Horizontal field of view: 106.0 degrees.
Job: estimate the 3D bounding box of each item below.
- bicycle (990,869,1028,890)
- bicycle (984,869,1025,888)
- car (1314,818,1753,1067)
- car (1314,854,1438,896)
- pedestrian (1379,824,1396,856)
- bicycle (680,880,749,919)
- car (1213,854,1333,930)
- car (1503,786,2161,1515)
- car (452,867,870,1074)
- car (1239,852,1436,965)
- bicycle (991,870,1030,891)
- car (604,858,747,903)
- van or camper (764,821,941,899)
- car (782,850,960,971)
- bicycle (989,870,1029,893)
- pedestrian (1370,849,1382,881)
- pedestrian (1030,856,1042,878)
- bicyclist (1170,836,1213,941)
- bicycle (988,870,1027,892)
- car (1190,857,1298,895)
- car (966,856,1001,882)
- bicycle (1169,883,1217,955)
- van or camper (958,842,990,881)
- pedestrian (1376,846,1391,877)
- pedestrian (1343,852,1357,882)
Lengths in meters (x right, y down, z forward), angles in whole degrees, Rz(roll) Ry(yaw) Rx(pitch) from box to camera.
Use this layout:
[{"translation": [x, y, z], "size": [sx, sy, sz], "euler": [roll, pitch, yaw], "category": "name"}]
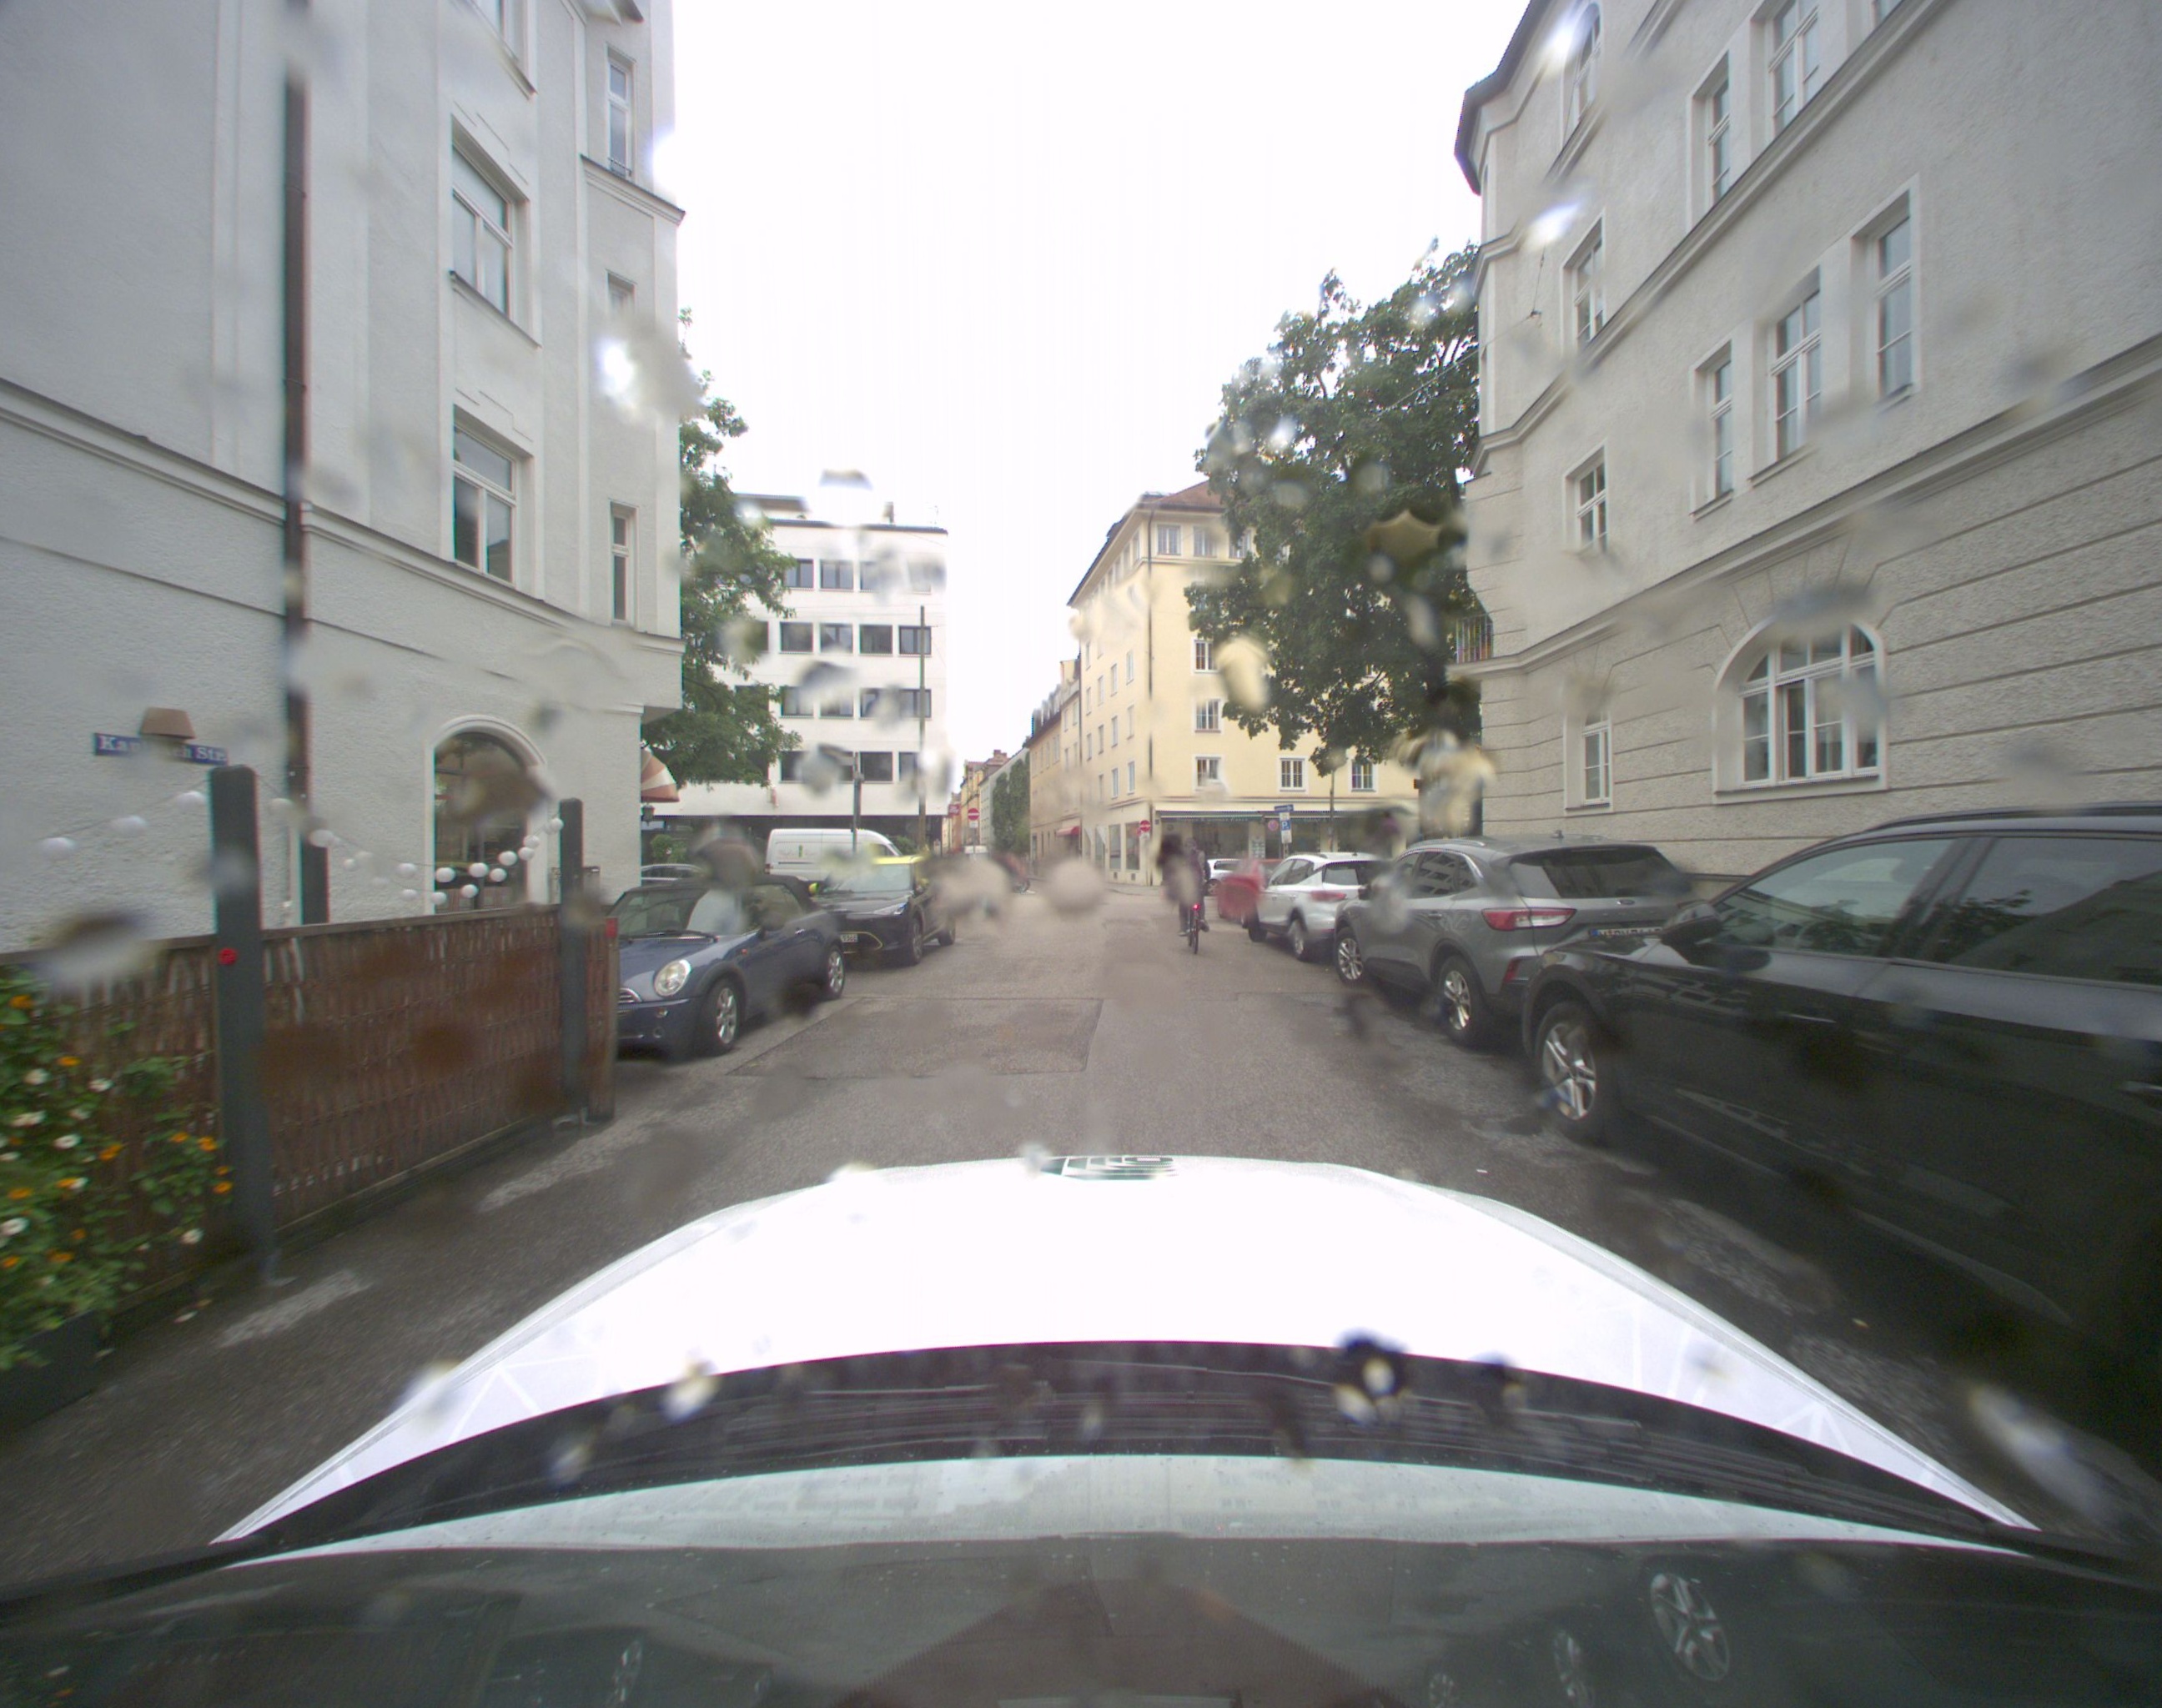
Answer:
[{"translation": [-3.462, 1.232, 39.006], "size": [1.739, 0.968, 0.540], "euler": [0, 0, -16], "category": "bicycle"}, {"translation": [-3.727, 1.199, 39.808], "size": [1.915, 0.863, 0.615], "euler": [0, 0, -16], "category": "bicycle"}, {"translation": [3.795, 0.612, 7.894], "size": [1.784, 1.713, 4.425], "euler": [-1, 0, 0], "category": "car"}, {"translation": [11.783, 0.837, 32.639], "size": [4.335, 1.592, 1.814], "euler": [0, -2, -10], "category": "car"}, {"translation": [15.585, -0.706, 41.396], "size": [0.552, 1.575, 0.576], "euler": [1, -1, -9], "category": "pedestrian"}, {"translation": [-9.446, 1.158, 21.011], "size": [1.566, 0.947, 0.891], "euler": [1, -2, -26], "category": "bicycle"}, {"translation": [4.052, 0.734, 17.822], "size": [1.663, 1.435, 4.213], "euler": [0, 0, 0], "category": "car"}, {"translation": [3.374, 0.674, 2.800], "size": [1.770, 1.636, 4.379], "euler": [1, 0, 3], "category": "car"}, {"translation": [-3.559, 0.875, 7.866], "size": [1.699, 1.390, 4.004], "euler": [-2, 0, 4], "category": "car"}, {"translation": [3.813, 0.728, 12.843], "size": [1.746, 1.496, 3.906], "euler": [0, 0, -3], "category": "car"}, {"translation": [-3.320, 1.238, 38.397], "size": [1.739, 0.968, 0.540], "euler": [0, 0, -16], "category": "bicycle"}, {"translation": [-13.841, 0.913, 28.055], "size": [4.055, 1.429, 1.792], "euler": [0, -3, -12], "category": "car"}, {"translation": [-8.094, 0.227, 29.343], "size": [5.901, 2.677, 1.868], "euler": [-1, -2, -8], "category": "van or camper"}, {"translation": [-3.170, 0.790, 13.117], "size": [1.670, 1.597, 3.947], "euler": [-2, -1, 2], "category": "car"}, {"translation": [-3.283, 1.242, 37.127], "size": [1.758, 0.968, 0.592], "euler": [0, 0, -16], "category": "bicycle"}, {"translation": [14.607, 0.535, 40.277], "size": [0.551, 1.537, 0.437], "euler": [0, 1, 21], "category": "pedestrian"}, {"translation": [-3.649, 1.025, 66.130], "size": [0.878, 1.778, 0.770], "euler": [0, 0, -11], "category": "pedestrian"}, {"translation": [1.738, 0.531, 12.855], "size": [0.603, 1.606, 0.758], "euler": [-1, 0, 4], "category": "bicyclist"}, {"translation": [-3.417, 1.240, 37.737], "size": [1.739, 0.968, 0.540], "euler": [0, 0, -16], "category": "bicycle"}, {"translation": [6.437, 0.899, 32.415], "size": [3.972, 1.416, 1.821], "euler": [0, -4, 2], "category": "car"}, {"translation": [-6.012, 0.874, 50.022], "size": [1.833, 1.535, 3.985], "euler": [0, 0, -11], "category": "car"}, {"translation": [1.735, 0.981, 12.773], "size": [0.636, 1.004, 1.576], "euler": [-1, 0, 4], "category": "bicycle"}, {"translation": [-7.391, 0.491, 56.091], "size": [1.994, 2.540, 4.744], "euler": [0, 0, -10], "category": "van or camper"}, {"translation": [15.123, 0.391, 40.758], "size": [0.435, 1.551, 0.530], "euler": [0, 0, -27], "category": "pedestrian"}, {"translation": [13.031, 0.633, 39.481], "size": [0.507, 1.433, 0.586], "euler": [-1, -1, 32], "category": "pedestrian"}]
